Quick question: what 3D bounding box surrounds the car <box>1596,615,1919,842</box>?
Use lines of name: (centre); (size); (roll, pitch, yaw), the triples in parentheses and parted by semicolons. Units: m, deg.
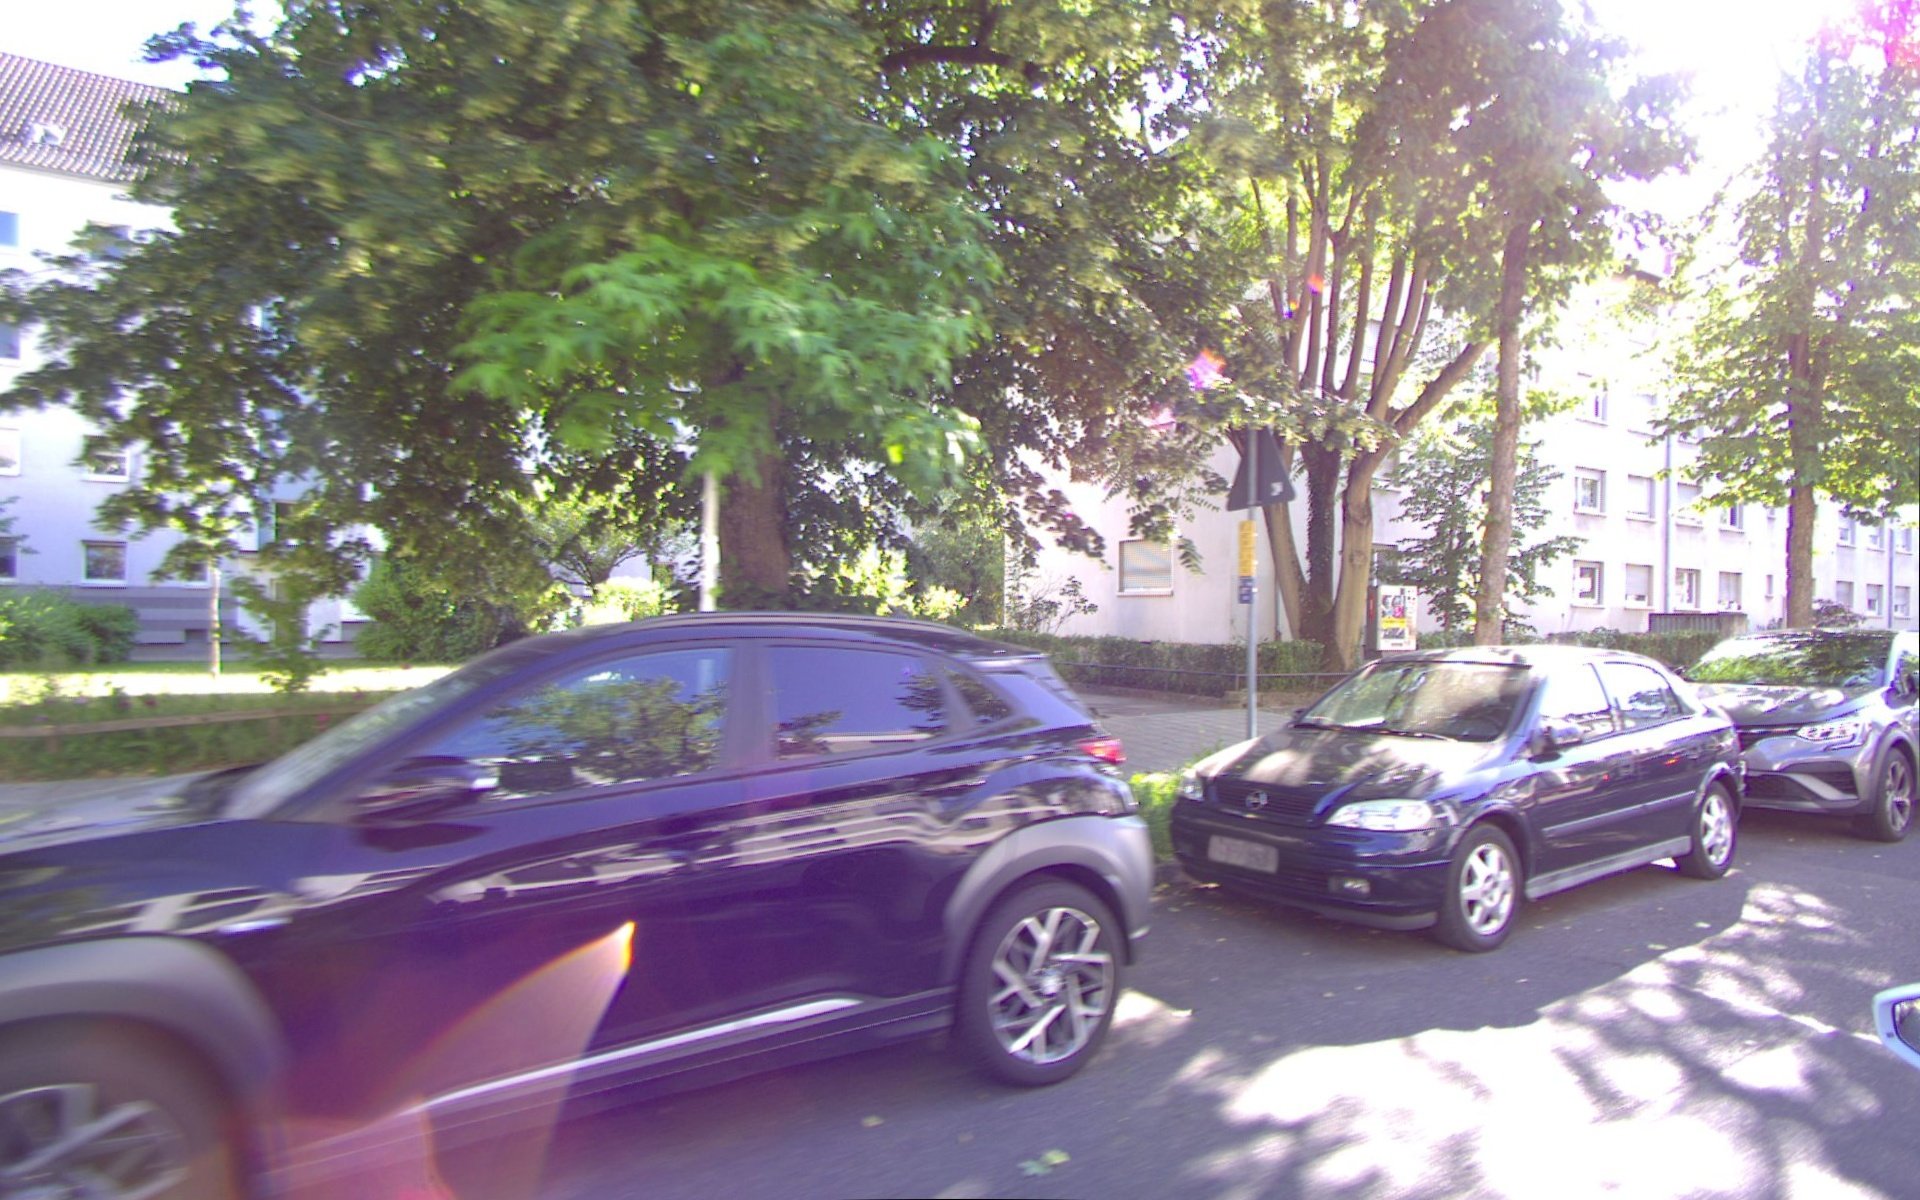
car: (7.698, 0.942, 8.835); (4.368, 1.551, 1.760); (1, -1, -30)

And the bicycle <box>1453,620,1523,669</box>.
bicycle: (13.595, 1.143, 25.839); (1.888, 1.217, 0.683); (1, -1, -29)

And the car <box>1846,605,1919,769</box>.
car: (12.144, 0.941, 11.487); (4.761, 1.710, 1.758); (1, -1, -32)

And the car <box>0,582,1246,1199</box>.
car: (-1.267, 0.801, 3.330); (4.429, 1.598, 1.698); (1, -1, -30)

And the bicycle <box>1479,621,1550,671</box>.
bicycle: (13.930, 1.150, 25.219); (1.888, 1.217, 0.683); (1, -1, -29)

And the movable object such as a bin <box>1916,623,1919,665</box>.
movable object such as a bin: (31.345, 1.424, 32.120); (1.366, 1.341, 0.923); (1, -1, -36)

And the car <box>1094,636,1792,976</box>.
car: (3.085, 0.917, 6.095); (4.433, 1.370, 1.775); (1, -1, -33)

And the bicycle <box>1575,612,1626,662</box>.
bicycle: (17.257, 0.981, 27.037); (1.893, 1.306, 0.396); (1, -1, -32)
